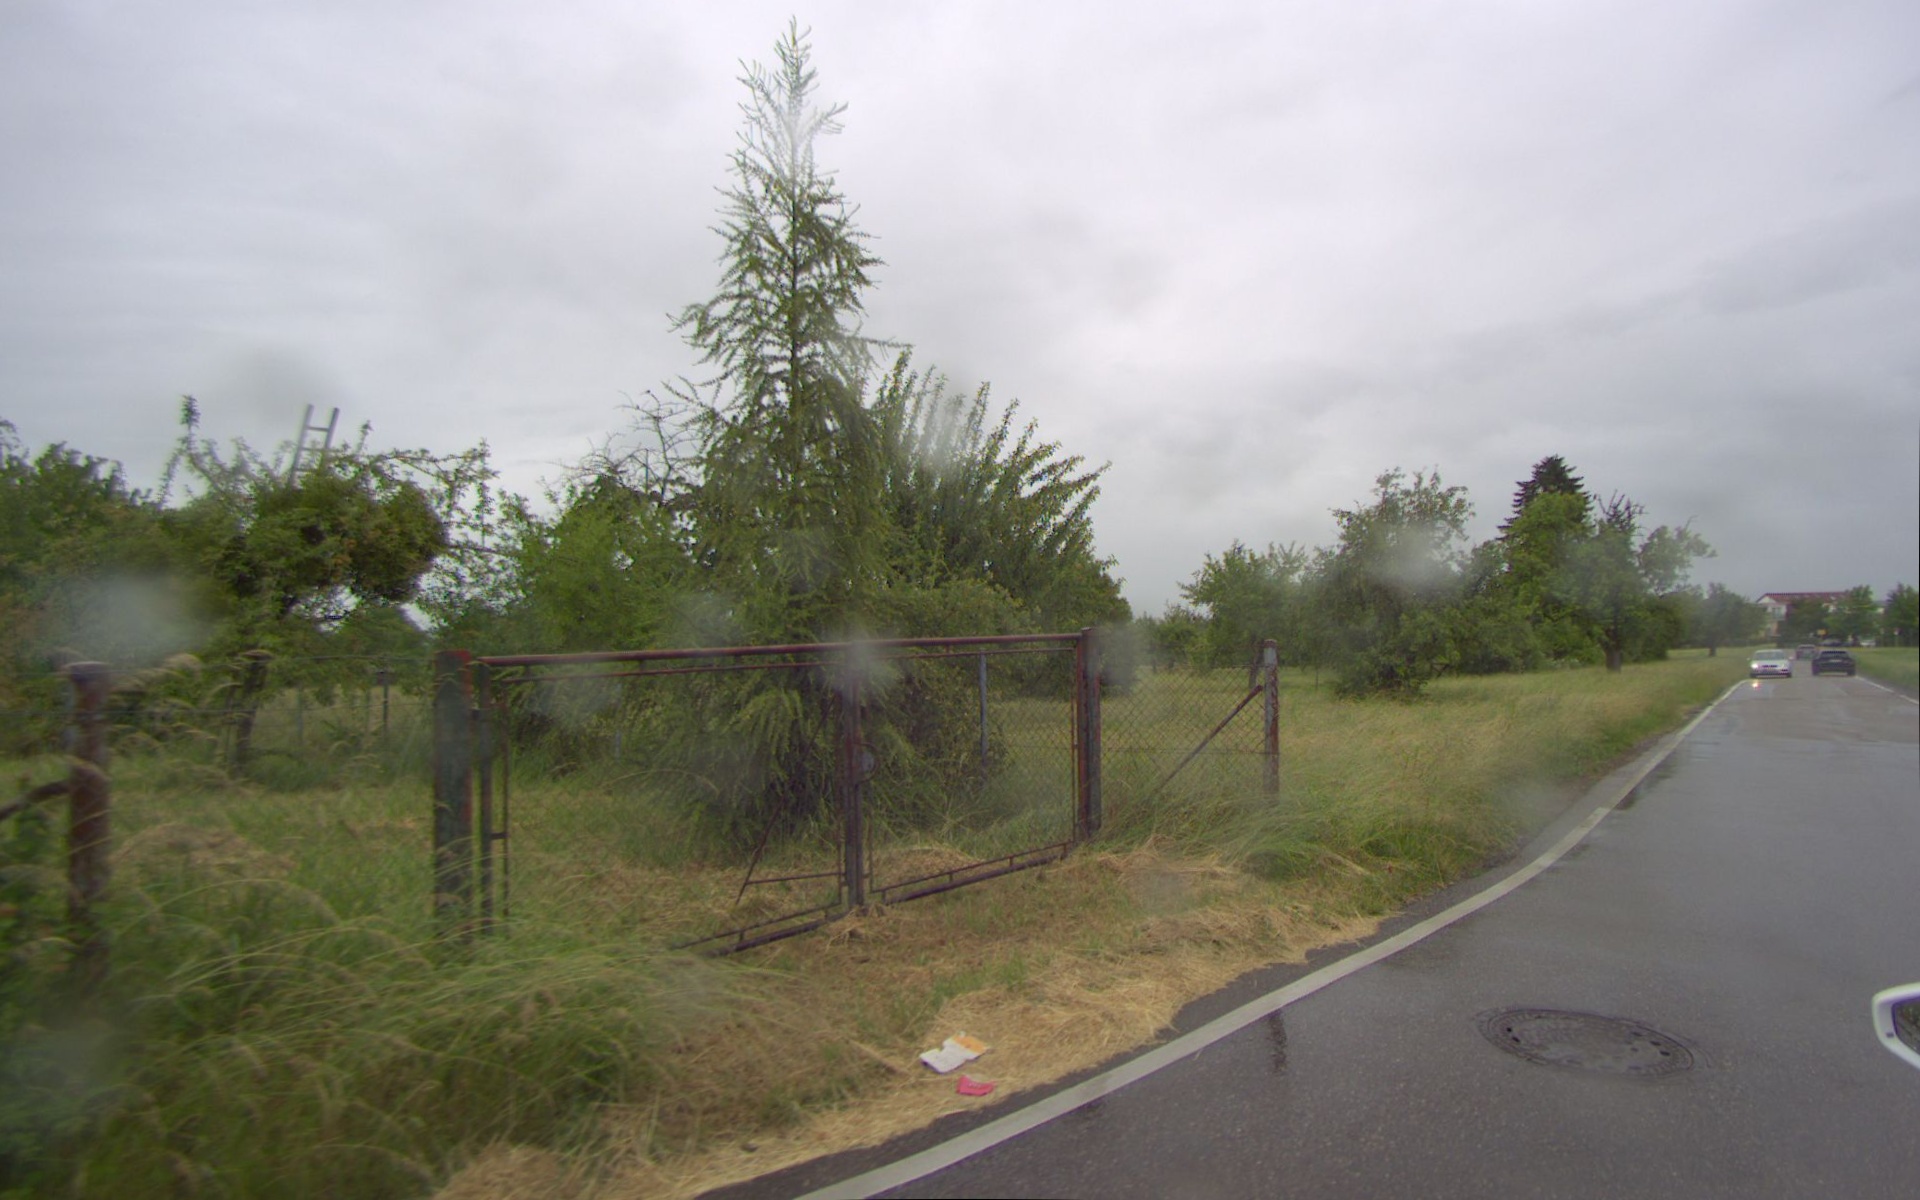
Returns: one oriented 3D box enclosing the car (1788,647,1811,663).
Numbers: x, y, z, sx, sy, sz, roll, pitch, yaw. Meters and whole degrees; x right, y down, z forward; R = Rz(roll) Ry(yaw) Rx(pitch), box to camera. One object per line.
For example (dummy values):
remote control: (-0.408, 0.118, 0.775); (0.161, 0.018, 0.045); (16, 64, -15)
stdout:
car: (87.652, 5.779, 104.903); (1.794, 1.614, 3.981); (-3, -4, 40)

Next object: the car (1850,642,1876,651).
car: (168.661, 8.695, 187.614); (3.933, 1.566, 1.662); (1, -3, -15)

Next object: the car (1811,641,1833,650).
car: (158.023, 8.291, 184.169); (3.947, 1.566, 1.656); (2, -4, -26)

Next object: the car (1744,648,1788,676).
car: (44.161, 3.387, 54.987); (1.719, 1.490, 4.103); (-3, -5, 40)

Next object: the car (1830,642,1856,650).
car: (163.809, 8.544, 186.369); (3.933, 1.566, 1.662); (1, -3, -15)

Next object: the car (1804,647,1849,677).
car: (48.874, 3.484, 56.703); (1.794, 1.614, 3.981); (-3, -4, 40)
